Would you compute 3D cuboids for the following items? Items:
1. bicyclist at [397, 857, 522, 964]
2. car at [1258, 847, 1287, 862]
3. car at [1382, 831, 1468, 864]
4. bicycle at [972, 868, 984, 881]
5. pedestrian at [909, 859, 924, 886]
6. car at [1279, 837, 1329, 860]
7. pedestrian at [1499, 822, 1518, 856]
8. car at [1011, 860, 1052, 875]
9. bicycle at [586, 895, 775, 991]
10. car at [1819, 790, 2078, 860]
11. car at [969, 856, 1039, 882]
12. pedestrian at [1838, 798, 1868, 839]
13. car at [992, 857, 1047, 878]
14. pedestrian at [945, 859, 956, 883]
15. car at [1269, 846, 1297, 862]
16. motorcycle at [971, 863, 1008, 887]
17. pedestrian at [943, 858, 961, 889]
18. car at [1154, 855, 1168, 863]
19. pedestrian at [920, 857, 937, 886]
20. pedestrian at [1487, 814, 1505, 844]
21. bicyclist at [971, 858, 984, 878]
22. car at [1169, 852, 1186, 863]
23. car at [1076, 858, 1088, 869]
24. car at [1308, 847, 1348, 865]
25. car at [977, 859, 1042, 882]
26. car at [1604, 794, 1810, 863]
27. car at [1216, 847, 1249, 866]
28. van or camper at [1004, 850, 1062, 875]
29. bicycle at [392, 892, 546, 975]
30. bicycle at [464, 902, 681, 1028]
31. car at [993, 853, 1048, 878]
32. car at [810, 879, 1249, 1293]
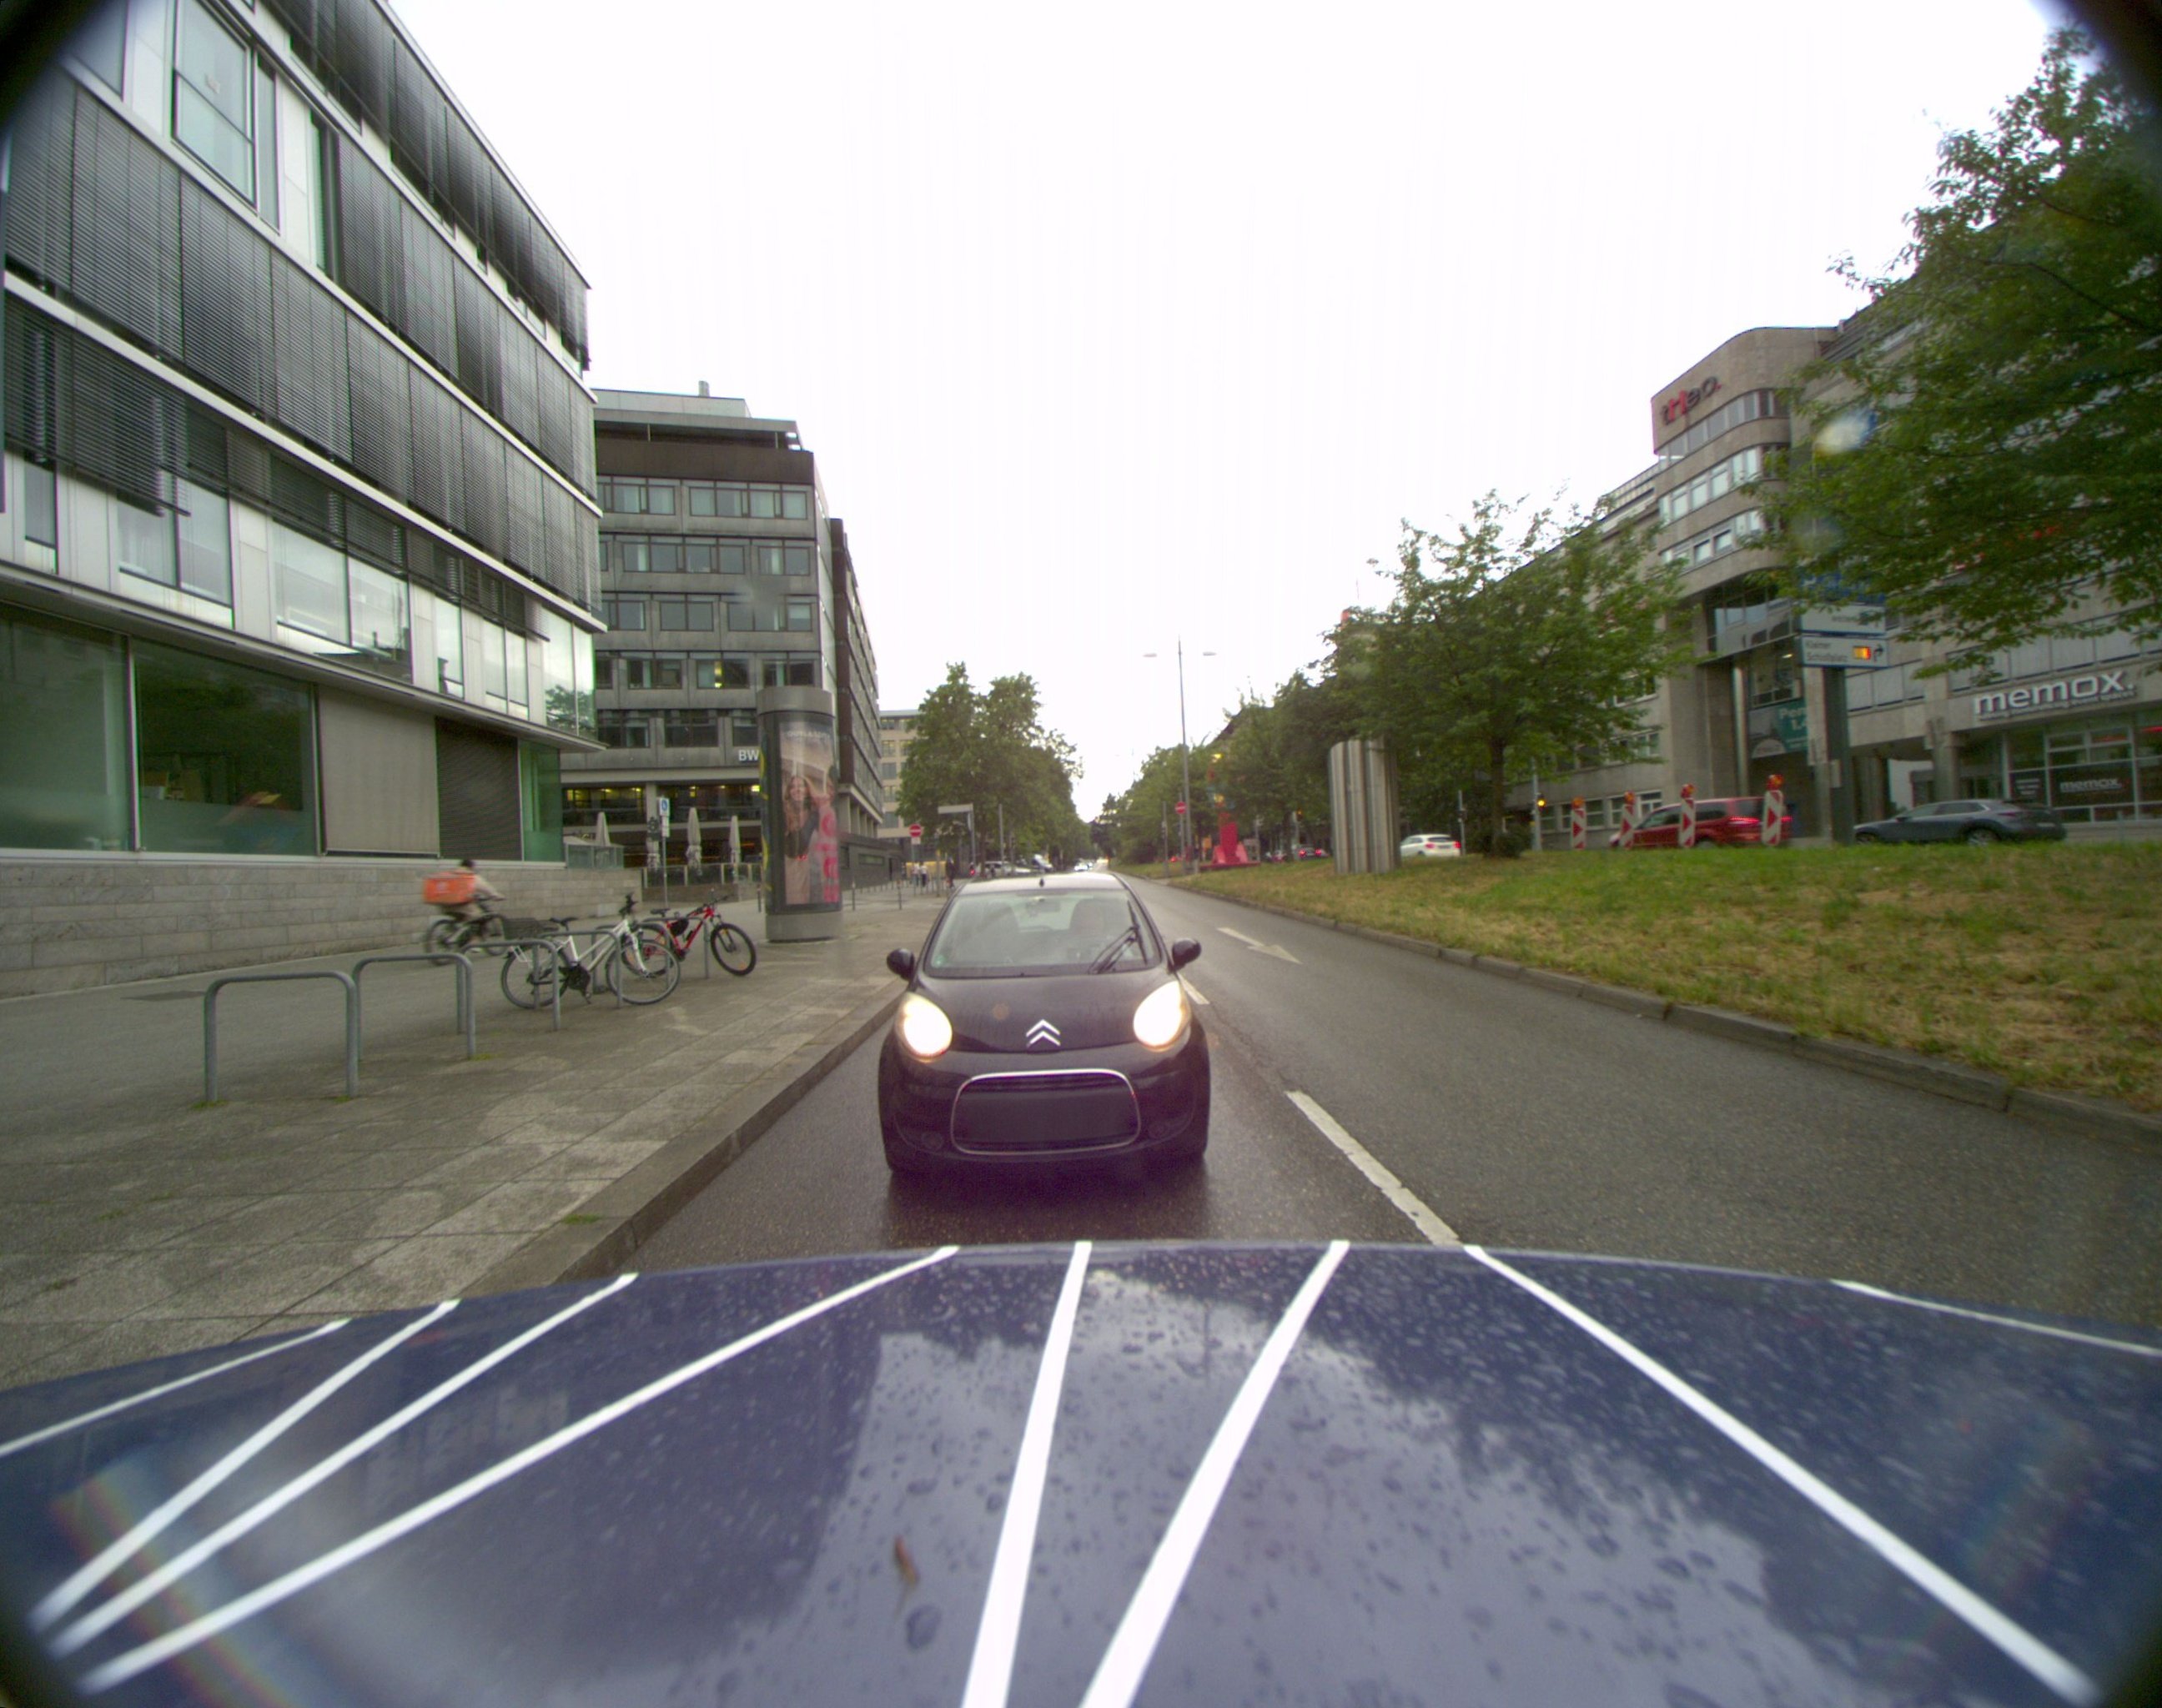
[{"bbox_3d":[-10.046,0.878,12.346,1.015,1.573,1.135,-5,1,-8],"label":"bicyclist"},{"bbox_3d":[20.550,0.092,81.643,1.791,1.478,4.574,-2,0,-3],"label":"car"},{"bbox_3d":[16.799,-0.285,37.356,1.825,1.466,4.190,-3,0,-8],"label":"car"},{"bbox_3d":[-9.296,1.829,68.749,0.777,1.132,1.978,-6,0,-3],"label":"bicycle"},{"bbox_3d":[-11.695,1.295,54.031,0.803,1.857,0.898,-3,0,0],"label":"pedestrian"},{"bbox_3d":[15.772,-0.385,54.007,1.873,1.466,3.997,-3,0,-8],"label":"car"},{"bbox_3d":[23.250,-0.795,41.361,0.529,1.777,0.721,-3,0,1],"label":"pedestrian"},{"bbox_3d":[-5.373,1.438,82.699,4.052,1.415,1.711,-4,0,29],"label":"car"},{"bbox_3d":[-5.130,1.131,9.811,1.988,1.097,0.808,-2,0,4],"label":"bicycle"},{"bbox_3d":[24.717,-0.738,21.999,1.867,1.715,4.791,-2,0,-3],"label":"car"},{"bbox_3d":[-5.632,1.097,55.604,4.792,1.640,1.920,-4,0,30],"label":"car"},{"bbox_3d":[34.603,-1.567,34.071,0.721,1.777,0.529,-3,0,-3],"label":"pedestrian"},{"bbox_3d":[-5.362,1.193,66.370,4.381,1.528,1.919,-4,0,27],"label":"car"},{"bbox_3d":[-10.694,1.387,62.164,0.721,1.873,0.656,-3,0,-6],"label":"pedestrian"},{"bbox_3d":[20.476,0.048,77.081,1.690,1.493,3.692,-2,0,-3],"label":"car"},{"bbox_3d":[-5.534,1.281,46.052,2.087,1.349,0.677,-3,0,7],"label":"motorcycle"},{"bbox_3d":[-7.347,1.116,43.361,0.723,1.675,0.528,-3,0,-44],"label":"pedestrian"},{"bbox_3d":[14.347,0.895,136.709,1.866,1.421,4.566,-2,0,-1],"label":"car"},{"bbox_3d":[-10.815,1.249,53.915,0.851,2.027,0.753,-3,0,7],"label":"pedestrian"},{"bbox_3d":[23.075,-1.386,42.247,0.607,1.619,0.620,-3,0,1],"label":"pedestrian"},{"bbox_3d":[-9.354,1.279,68.702,0.812,1.739,1.079,-6,2,-3],"label":"bicyclist"},{"bbox_3d":[14.073,0.531,110.789,1.866,1.421,4.132,-2,0,-2],"label":"car"},{"bbox_3d":[0.155,1.581,124.987,1.791,1.736,4.574,-2,0,-3],"label":"car"},{"bbox_3d":[21.696,0.183,66.911,1.867,1.421,4.565,-2,0,-3],"label":"car"},{"bbox_3d":[-5.566,1.259,58.772,4.711,1.465,1.920,-4,0,32],"label":"car"},{"bbox_3d":[17.784,-0.644,21.947,1.730,1.717,4.579,-3,0,-8],"label":"car"},{"bbox_3d":[14.777,0.215,74.297,1.951,1.690,3.997,-3,0,-8],"label":"car"},{"bbox_3d":[-5.509,1.006,86.364,6.250,2.432,2.319,-4,0,30],"label":"van or camper"},{"bbox_3d":[-10.040,1.258,12.609,1.012,1.107,2.066,-2,0,-7],"label":"bicycle"},{"bbox_3d":[-5.289,1.140,7.960,1.840,1.190,0.660,-1,0,4],"label":"bicycle"},{"bbox_3d":[-5.525,1.053,69.252,4.507,1.981,1.925,-4,0,29],"label":"car"},{"bbox_3d":[-0.245,0.960,4.876,1.634,1.408,3.834,-3,0,-2],"label":"car"}]
